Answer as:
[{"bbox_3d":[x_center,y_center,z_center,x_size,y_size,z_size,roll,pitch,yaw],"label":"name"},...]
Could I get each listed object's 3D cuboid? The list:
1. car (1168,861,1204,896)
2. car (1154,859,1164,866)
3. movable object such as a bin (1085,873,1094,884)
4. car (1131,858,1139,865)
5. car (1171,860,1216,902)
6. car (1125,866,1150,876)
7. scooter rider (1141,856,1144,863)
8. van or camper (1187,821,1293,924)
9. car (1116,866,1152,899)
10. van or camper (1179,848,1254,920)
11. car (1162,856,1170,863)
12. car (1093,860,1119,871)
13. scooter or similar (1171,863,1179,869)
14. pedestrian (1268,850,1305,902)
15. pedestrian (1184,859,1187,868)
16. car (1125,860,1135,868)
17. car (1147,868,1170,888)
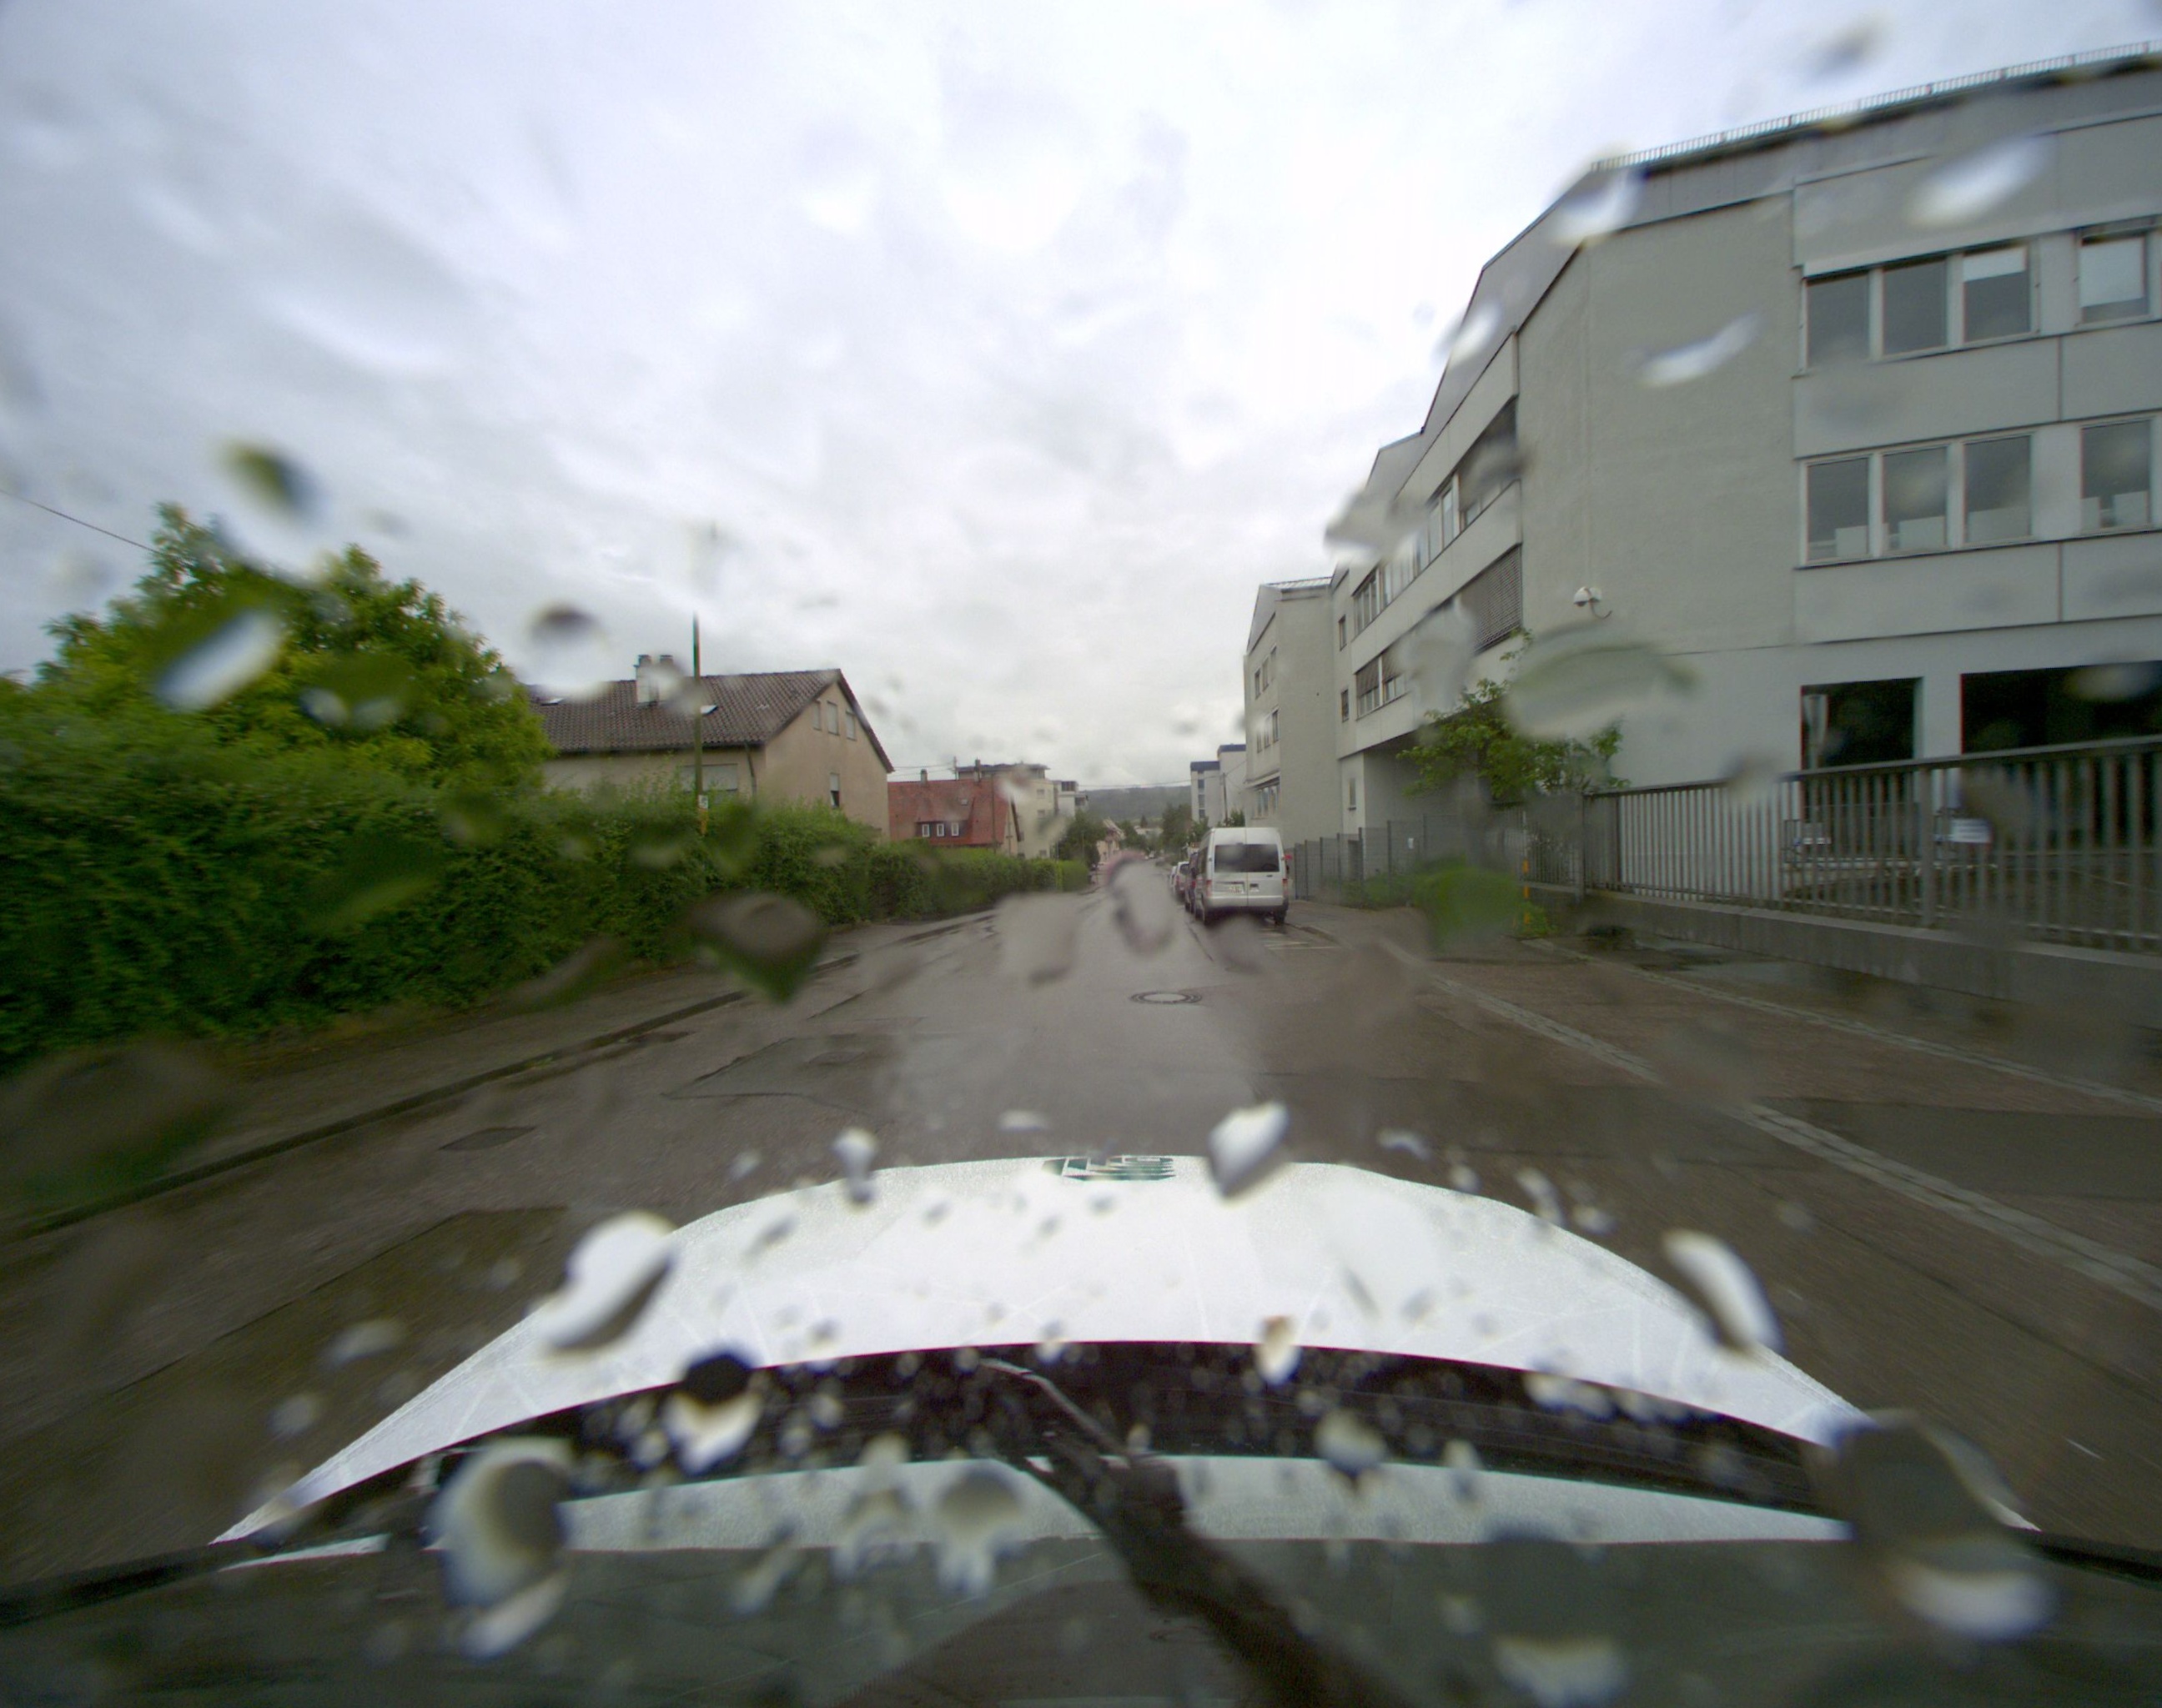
[{"bbox_3d":[5.985,1.385,46.900,1.869,1.834,4.495,-2,-1,5],"label":"car"},{"bbox_3d":[18.877,1.968,196.725,2.135,1.589,4.135,-4,0,6],"label":"car"},{"bbox_3d":[1.059,3.090,103.780,1.067,1.347,1.320,-1,-1,3],"label":"movable object such as a bin"},{"bbox_3d":[14.641,2.002,220.030,1.892,1.559,4.198,-4,0,6],"label":"car"},{"bbox_3d":[5.619,1.323,41.126,1.984,1.935,4.983,-2,-1,5],"label":"car"},{"bbox_3d":[9.224,2.804,133.054,1.900,1.525,3.954,-3,0,-38],"label":"car"},{"bbox_3d":[16.201,1.542,214.947,0.748,1.796,0.674,-3,0,5],"label":"scooter rider"},{"bbox_3d":[3.975,0.463,21.305,1.984,2.243,5.447,-3,-1,4],"label":"van or camper"},{"bbox_3d":[3.148,1.673,48.461,1.985,1.684,4.004,-3,0,3],"label":"car"},{"bbox_3d":[4.494,0.968,27.844,1.984,2.113,5.208,-3,-1,4],"label":"van or camper"},{"bbox_3d":[22.793,1.351,218.647,1.892,1.745,4.198,-4,0,6],"label":"car"},{"bbox_3d":[5.078,2.345,164.305,4.863,1.835,1.979,-3,0,-33],"label":"car"},{"bbox_3d":[17.763,2.203,153.666,1.264,1.081,0.876,-4,0,0],"label":"scooter or similar"},{"bbox_3d":[7.356,0.771,29.196,1.019,1.758,1.031,-3,0,2],"label":"pedestrian"},{"bbox_3d":[19.876,1.764,154.795,0.645,1.647,0.526,0,-1,-1],"label":"pedestrian"},{"bbox_3d":[11.015,2.280,183.685,1.984,1.626,4.198,-4,0,6],"label":"car"},{"bbox_3d":[7.504,2.309,79.019,1.985,1.684,4.004,-3,0,3],"label":"car"}]
